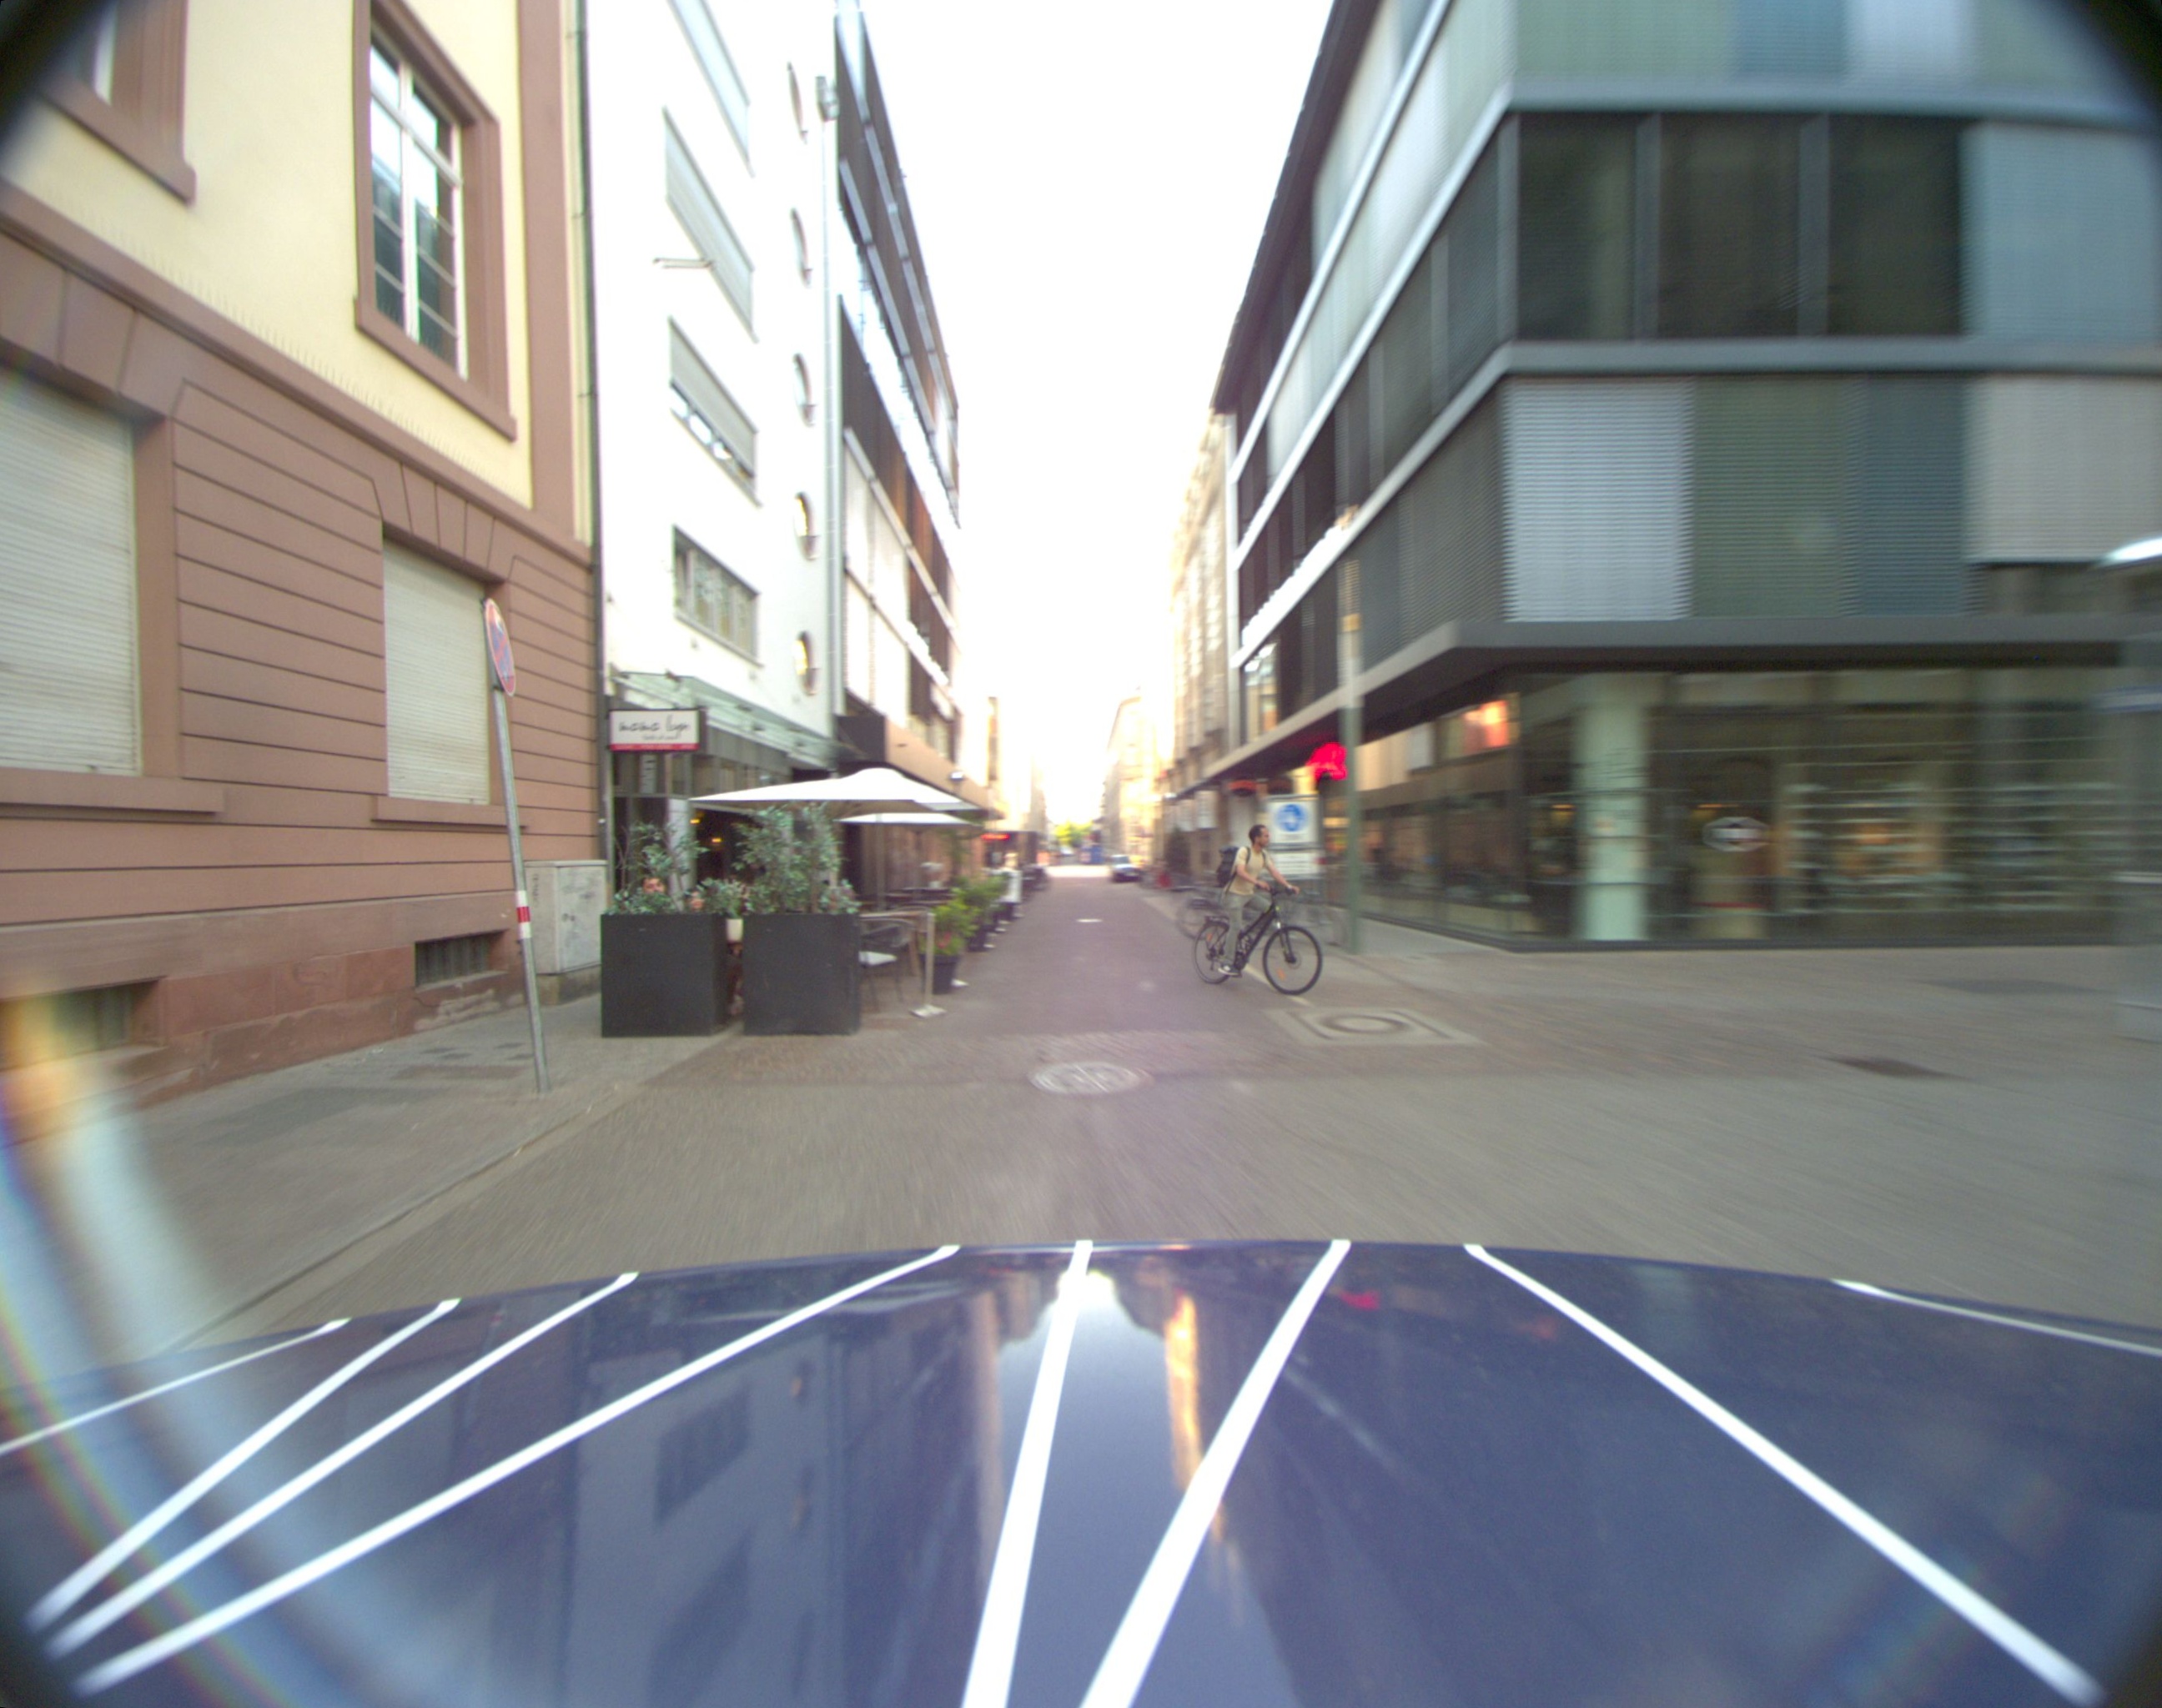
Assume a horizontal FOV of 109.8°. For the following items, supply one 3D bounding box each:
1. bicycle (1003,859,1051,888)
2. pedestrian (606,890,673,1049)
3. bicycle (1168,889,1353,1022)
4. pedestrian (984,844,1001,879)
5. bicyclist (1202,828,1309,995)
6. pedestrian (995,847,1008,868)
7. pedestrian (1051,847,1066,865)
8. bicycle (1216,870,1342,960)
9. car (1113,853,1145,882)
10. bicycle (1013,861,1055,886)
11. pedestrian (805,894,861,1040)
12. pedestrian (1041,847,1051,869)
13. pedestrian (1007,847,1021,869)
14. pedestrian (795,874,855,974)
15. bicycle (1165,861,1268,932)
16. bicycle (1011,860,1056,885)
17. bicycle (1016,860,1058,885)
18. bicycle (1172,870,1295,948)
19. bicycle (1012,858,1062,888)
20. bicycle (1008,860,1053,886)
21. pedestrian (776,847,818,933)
[{"bbox_3d":[-2.373,0.851,33.392,2.039,1.161,0.618,2,1,-1],"label":"bicycle"},{"bbox_3d":[-3.839,0.976,6.629,0.363,1.298,0.494,-1,1,-14],"label":"pedestrian"},{"bbox_3d":[1.831,0.990,8.082,0.701,1.122,2.000,-1,1,-32],"label":"bicycle"},{"bbox_3d":[-4.677,0.371,40.109,0.803,1.826,0.675,0,1,1],"label":"pedestrian"},{"bbox_3d":[1.841,0.564,8.056,0.677,1.660,0.867,-1,1,-33],"label":"bicyclist"},{"bbox_3d":[-5.936,0.278,56.581,0.782,1.516,0.636,0,2,9],"label":"pedestrian"},{"bbox_3d":[-2.069,0.175,69.942,0.917,1.563,0.995,0,2,43],"label":"pedestrian"},{"bbox_3d":[2.868,0.876,11.077,1.670,1.197,0.509,-2,1,-1],"label":"bicycle"},{"bbox_3d":[2.532,0.659,39.937,1.602,1.415,3.604,0,1,4],"label":"car"},{"bbox_3d":[-2.275,0.936,37.025,2.039,1.161,0.618,0,1,-1],"label":"bicycle"},{"bbox_3d":[-2.162,0.972,6.641,0.400,1.206,0.383,-1,1,-10],"label":"pedestrian"},{"bbox_3d":[-2.733,0.306,58.888,0.765,1.629,0.668,0,2,-3],"label":"pedestrian"},{"bbox_3d":[-5.033,0.301,57.056,0.780,1.612,0.637,2,3,41],"label":"pedestrian"},{"bbox_3d":[-3.816,1.019,11.379,0.575,1.412,0.868,0,1,1],"label":"pedestrian"},{"bbox_3d":[2.722,0.841,15.347,1.902,1.262,0.538,-4,1,0],"label":"bicycle"},{"bbox_3d":[-2.212,0.866,35.571,2.039,1.161,0.618,-1,1,-1],"label":"bicycle"},{"bbox_3d":[-2.190,0.913,38.013,2.039,1.209,0.618,-1,1,-1],"label":"bicycle"},{"bbox_3d":[2.527,0.902,12.680,1.902,1.174,0.517,-3,0,-2],"label":"bicycle"},{"bbox_3d":[-1.820,0.779,31.742,2.039,1.161,0.665,2,1,-1],"label":"bicycle"},{"bbox_3d":[-2.279,0.856,34.468,2.039,1.161,0.618,-1,1,-1],"label":"bicycle"},{"bbox_3d":[-5.894,0.729,15.798,0.640,1.762,0.602,-1,1,-5],"label":"pedestrian"}]
